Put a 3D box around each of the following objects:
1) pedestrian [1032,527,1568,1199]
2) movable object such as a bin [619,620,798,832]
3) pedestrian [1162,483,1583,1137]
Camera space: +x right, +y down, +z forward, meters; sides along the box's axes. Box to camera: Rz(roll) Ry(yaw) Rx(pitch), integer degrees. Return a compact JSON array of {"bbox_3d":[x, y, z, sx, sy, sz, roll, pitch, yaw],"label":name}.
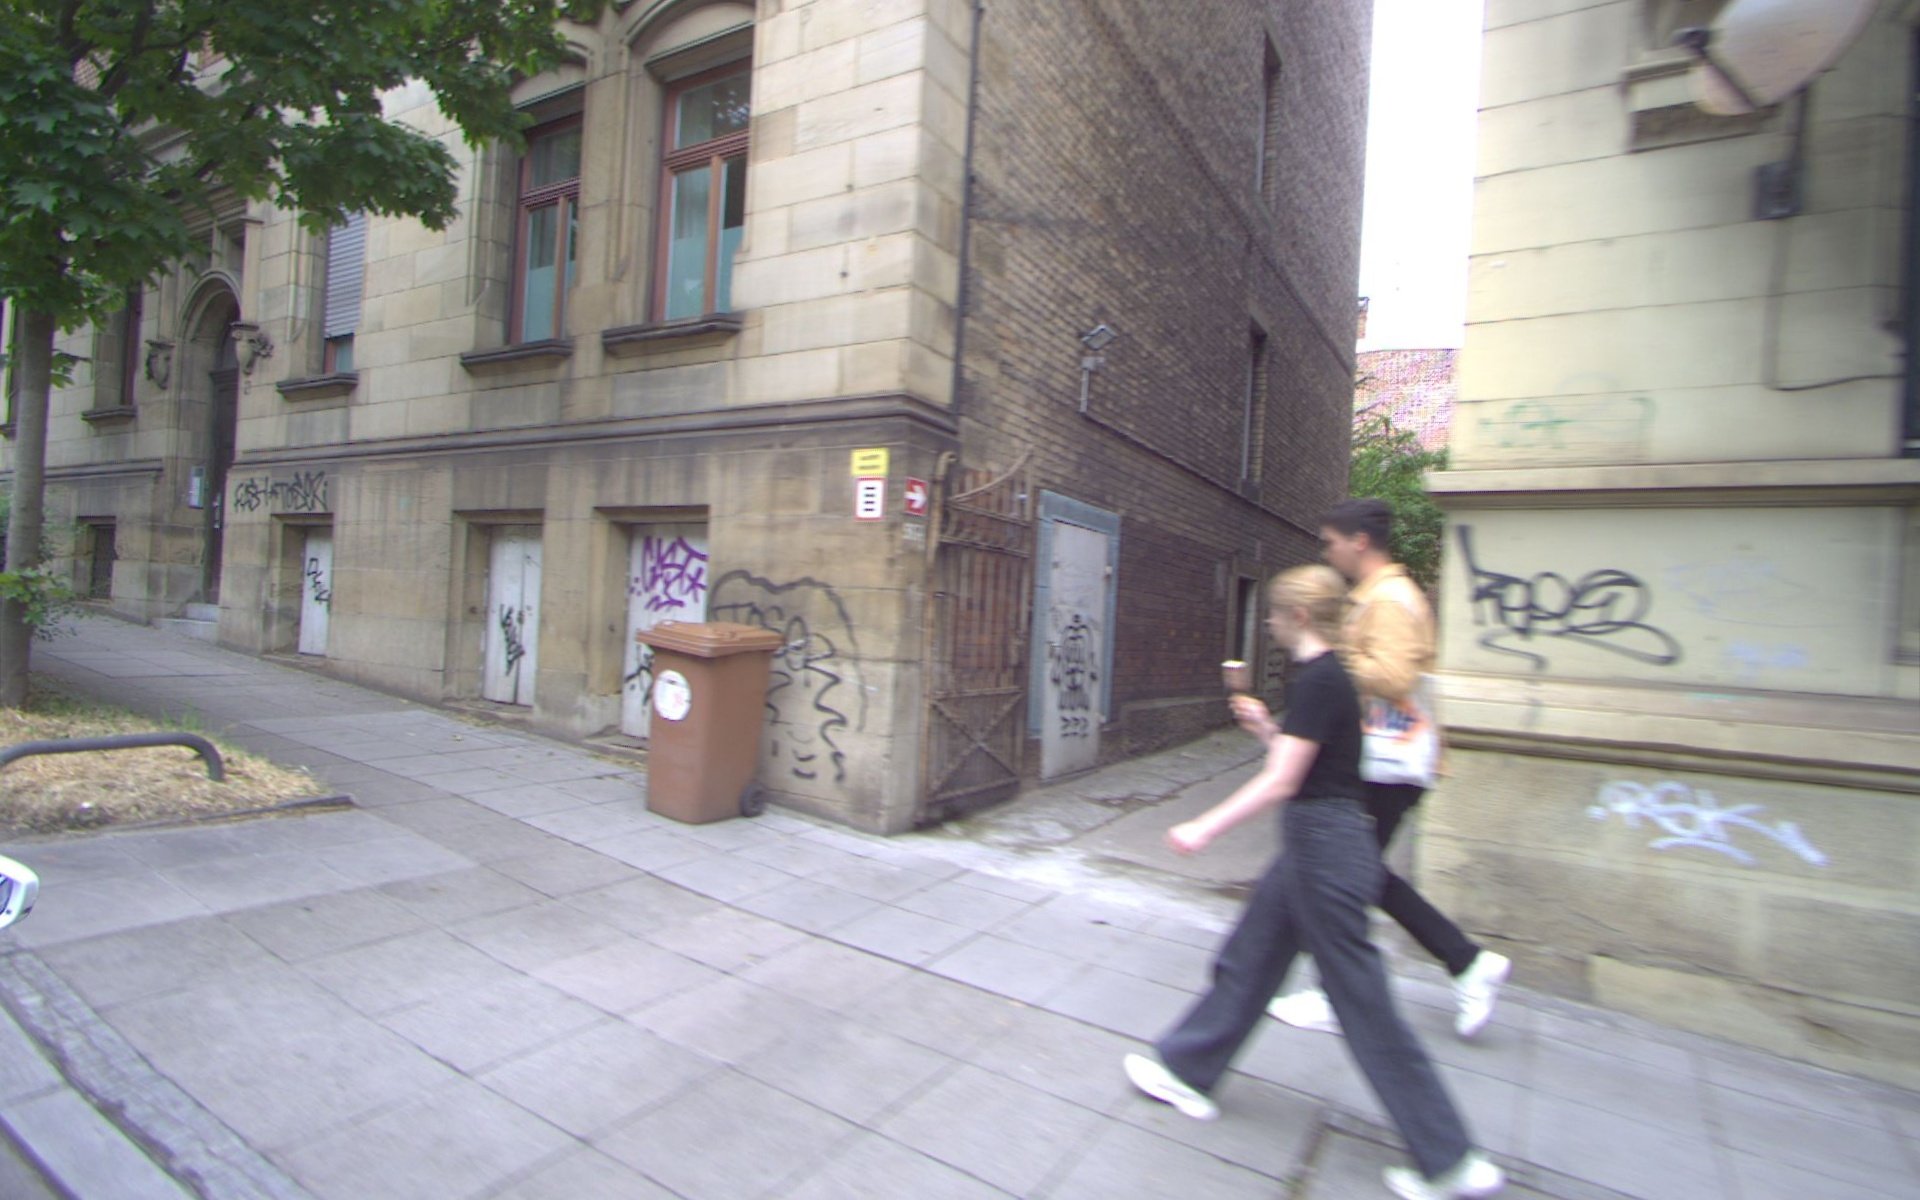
[{"bbox_3d":[0.936,0.636,2.808,1.196,1.595,0.686,4,1,31],"label":"pedestrian"},{"bbox_3d":[-1.391,0.664,5.613,0.572,1.030,0.671,9,4,29],"label":"movable object such as a bin"},{"bbox_3d":[1.390,0.579,3.416,1.103,1.853,0.686,4,1,31],"label":"pedestrian"}]
